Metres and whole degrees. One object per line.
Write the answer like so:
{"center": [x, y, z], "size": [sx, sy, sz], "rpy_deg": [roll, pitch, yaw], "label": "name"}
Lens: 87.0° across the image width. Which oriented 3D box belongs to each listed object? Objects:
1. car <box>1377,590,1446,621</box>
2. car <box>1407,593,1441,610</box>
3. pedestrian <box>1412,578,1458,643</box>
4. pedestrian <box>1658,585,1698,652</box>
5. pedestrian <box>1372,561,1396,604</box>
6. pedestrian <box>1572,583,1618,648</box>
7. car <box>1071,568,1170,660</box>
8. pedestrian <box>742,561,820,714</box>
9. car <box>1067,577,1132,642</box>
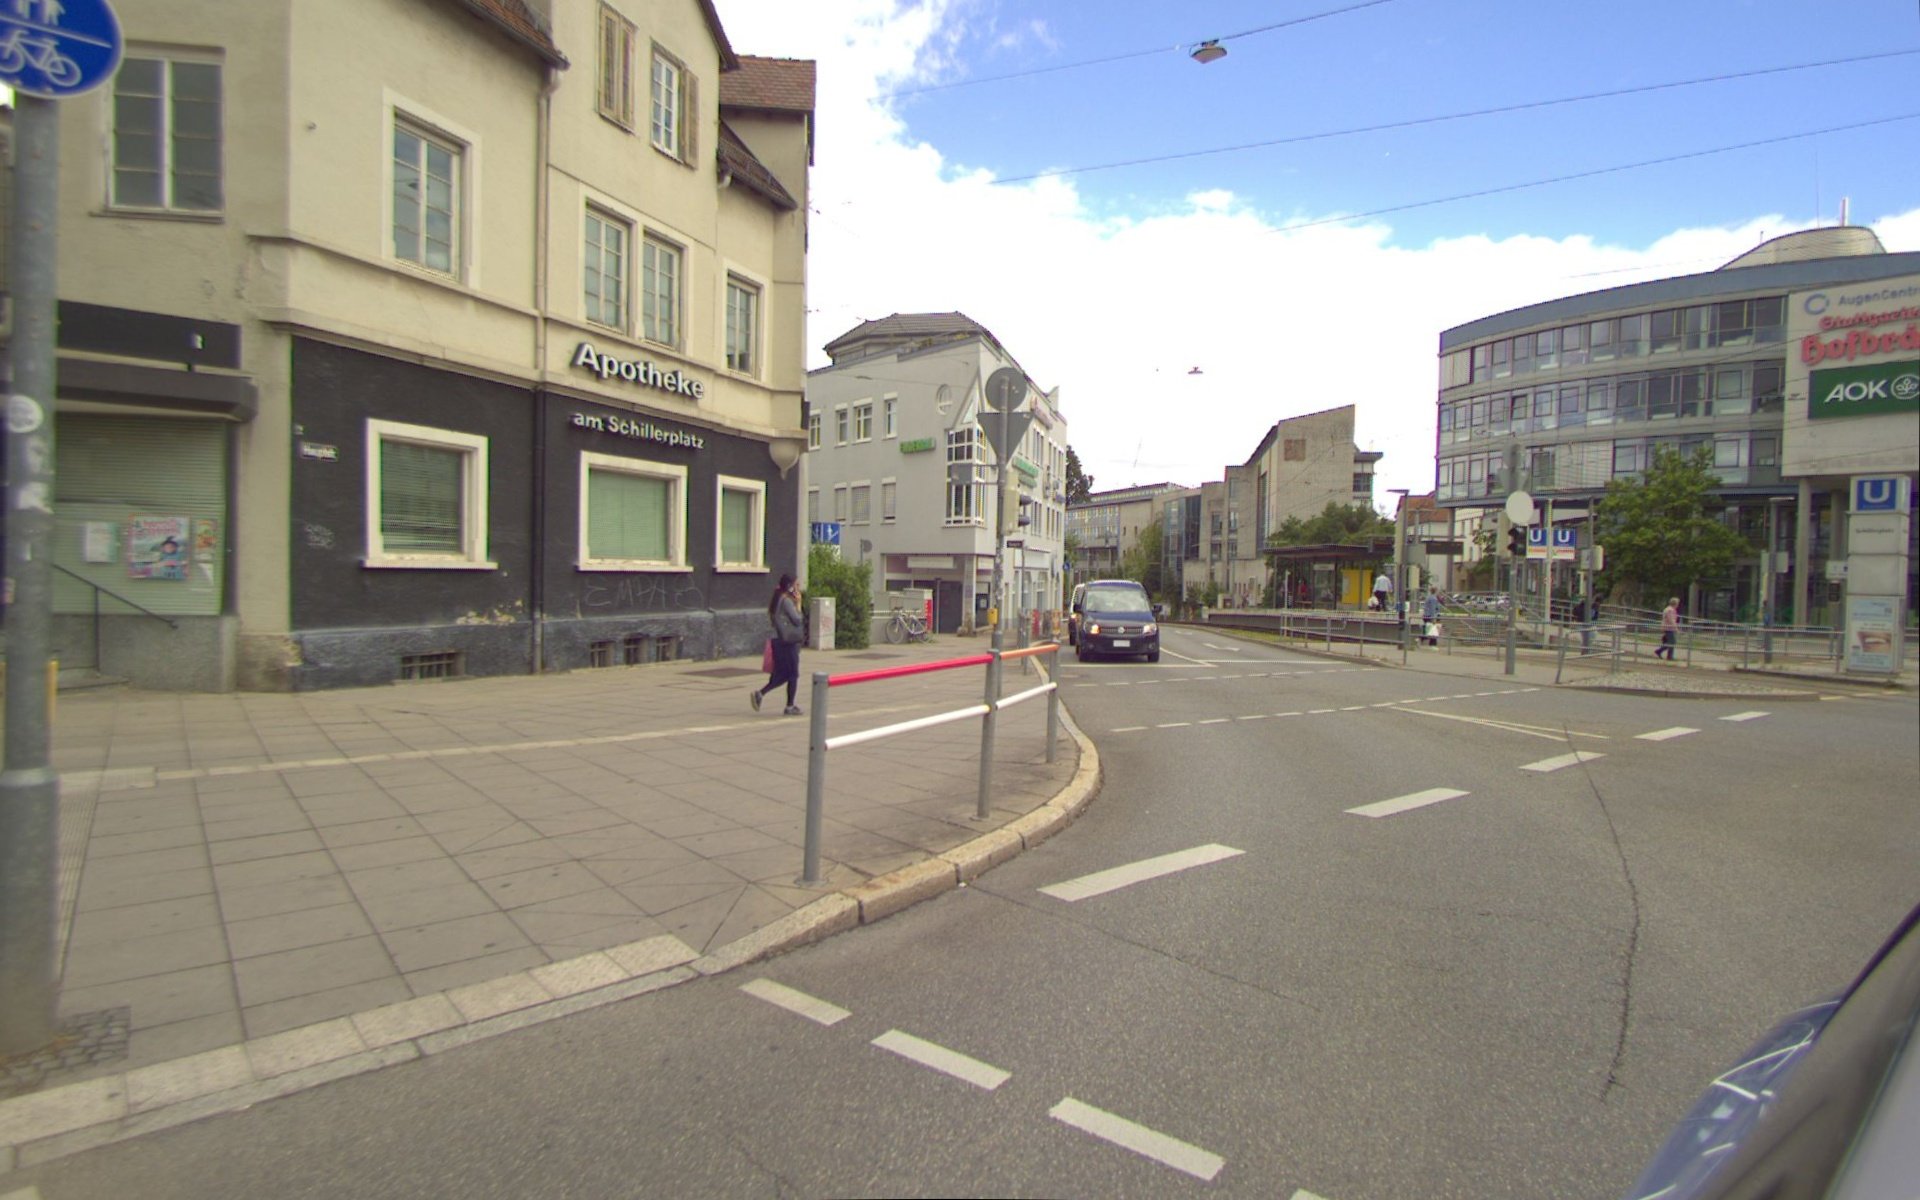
{"center": [26.743, 0.308, 60.098], "size": [1.961, 1.732, 4.321], "rpy_deg": [1, 1, -2], "label": "car"}
{"center": [50.039, 0.131, 109.268], "size": [1.965, 1.732, 4.312], "rpy_deg": [1, 1, 6], "label": "car"}
{"center": [12.644, 0.267, 26.976], "size": [0.792, 1.667, 0.888], "rpy_deg": [1, 1, 3], "label": "pedestrian"}
{"center": [17.962, 0.455, 25.313], "size": [0.577, 1.655, 0.525], "rpy_deg": [-1, -2, 5], "label": "pedestrian"}
{"center": [17.518, -0.726, 41.820], "size": [0.682, 1.766, 0.615], "rpy_deg": [0, -2, -4], "label": "pedestrian"}
{"center": [16.676, 0.410, 26.596], "size": [0.834, 1.655, 0.641], "rpy_deg": [-1, -2, 17], "label": "pedestrian"}
{"center": [3.636, 0.238, 23.719], "size": [1.846, 1.918, 4.923], "rpy_deg": [1, 1, 4], "label": "car"}
{"center": [-1.992, 0.409, 11.328], "size": [0.580, 1.643, 0.740], "rpy_deg": [-1, -2, 18], "label": "pedestrian"}
{"center": [4.596, 0.244, 32.762], "size": [1.850, 1.918, 4.913], "rpy_deg": [1, 1, 11], "label": "car"}
